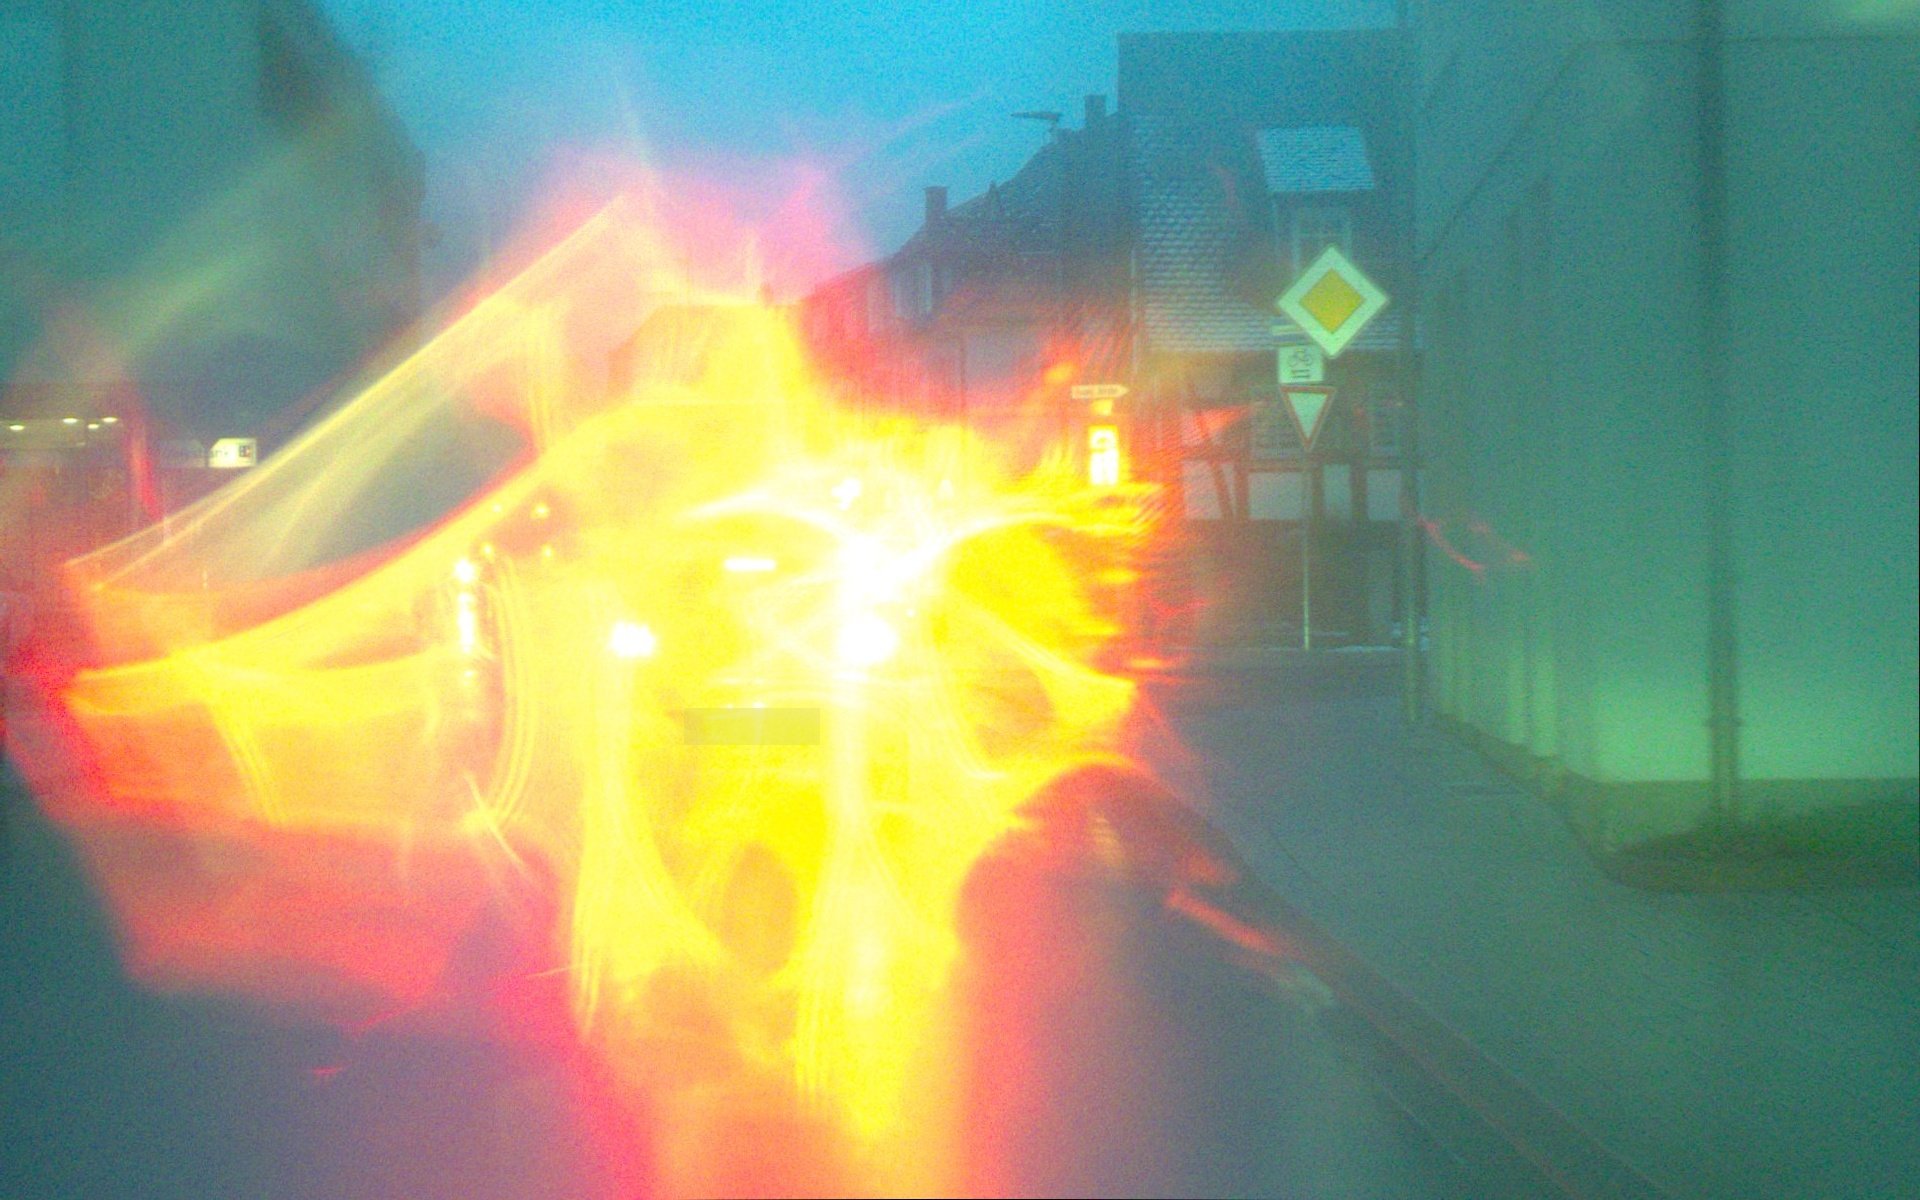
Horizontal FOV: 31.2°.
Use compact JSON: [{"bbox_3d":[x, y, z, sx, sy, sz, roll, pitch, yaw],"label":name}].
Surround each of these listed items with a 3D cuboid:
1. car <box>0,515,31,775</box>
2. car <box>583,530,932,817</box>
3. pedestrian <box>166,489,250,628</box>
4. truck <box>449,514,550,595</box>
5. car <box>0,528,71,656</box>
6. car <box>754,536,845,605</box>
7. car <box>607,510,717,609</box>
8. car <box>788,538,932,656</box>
[{"bbox_3d":[-6.736,0.288,20.126,1.720,1.608,3.816,2,1,-3],"label":"car"},{"bbox_3d":[-1.074,0.341,19.525,1.770,1.442,3.727,-1,1,-1],"label":"car"},{"bbox_3d":[-10.669,-0.599,48.755,0.973,1.931,1.203,-2,2,-19],"label":"pedestrian"},{"bbox_3d":[-18.375,-1.834,136.825,3.014,3.118,8.003,0,1,-15],"label":"truck"},{"bbox_3d":[-12.904,-0.126,45.201,1.763,1.494,4.452,-2,3,-7],"label":"car"},{"bbox_3d":[-3.721,-0.711,79.215,1.794,1.455,4.532,-3,1,-5],"label":"car"},{"bbox_3d":[-4.590,-0.623,53.072,1.637,1.476,3.379,0,1,-5],"label":"car"},{"bbox_3d":[-1.416,-0.072,47.339,1.732,1.454,4.001,-3,1,-4],"label":"car"}]
